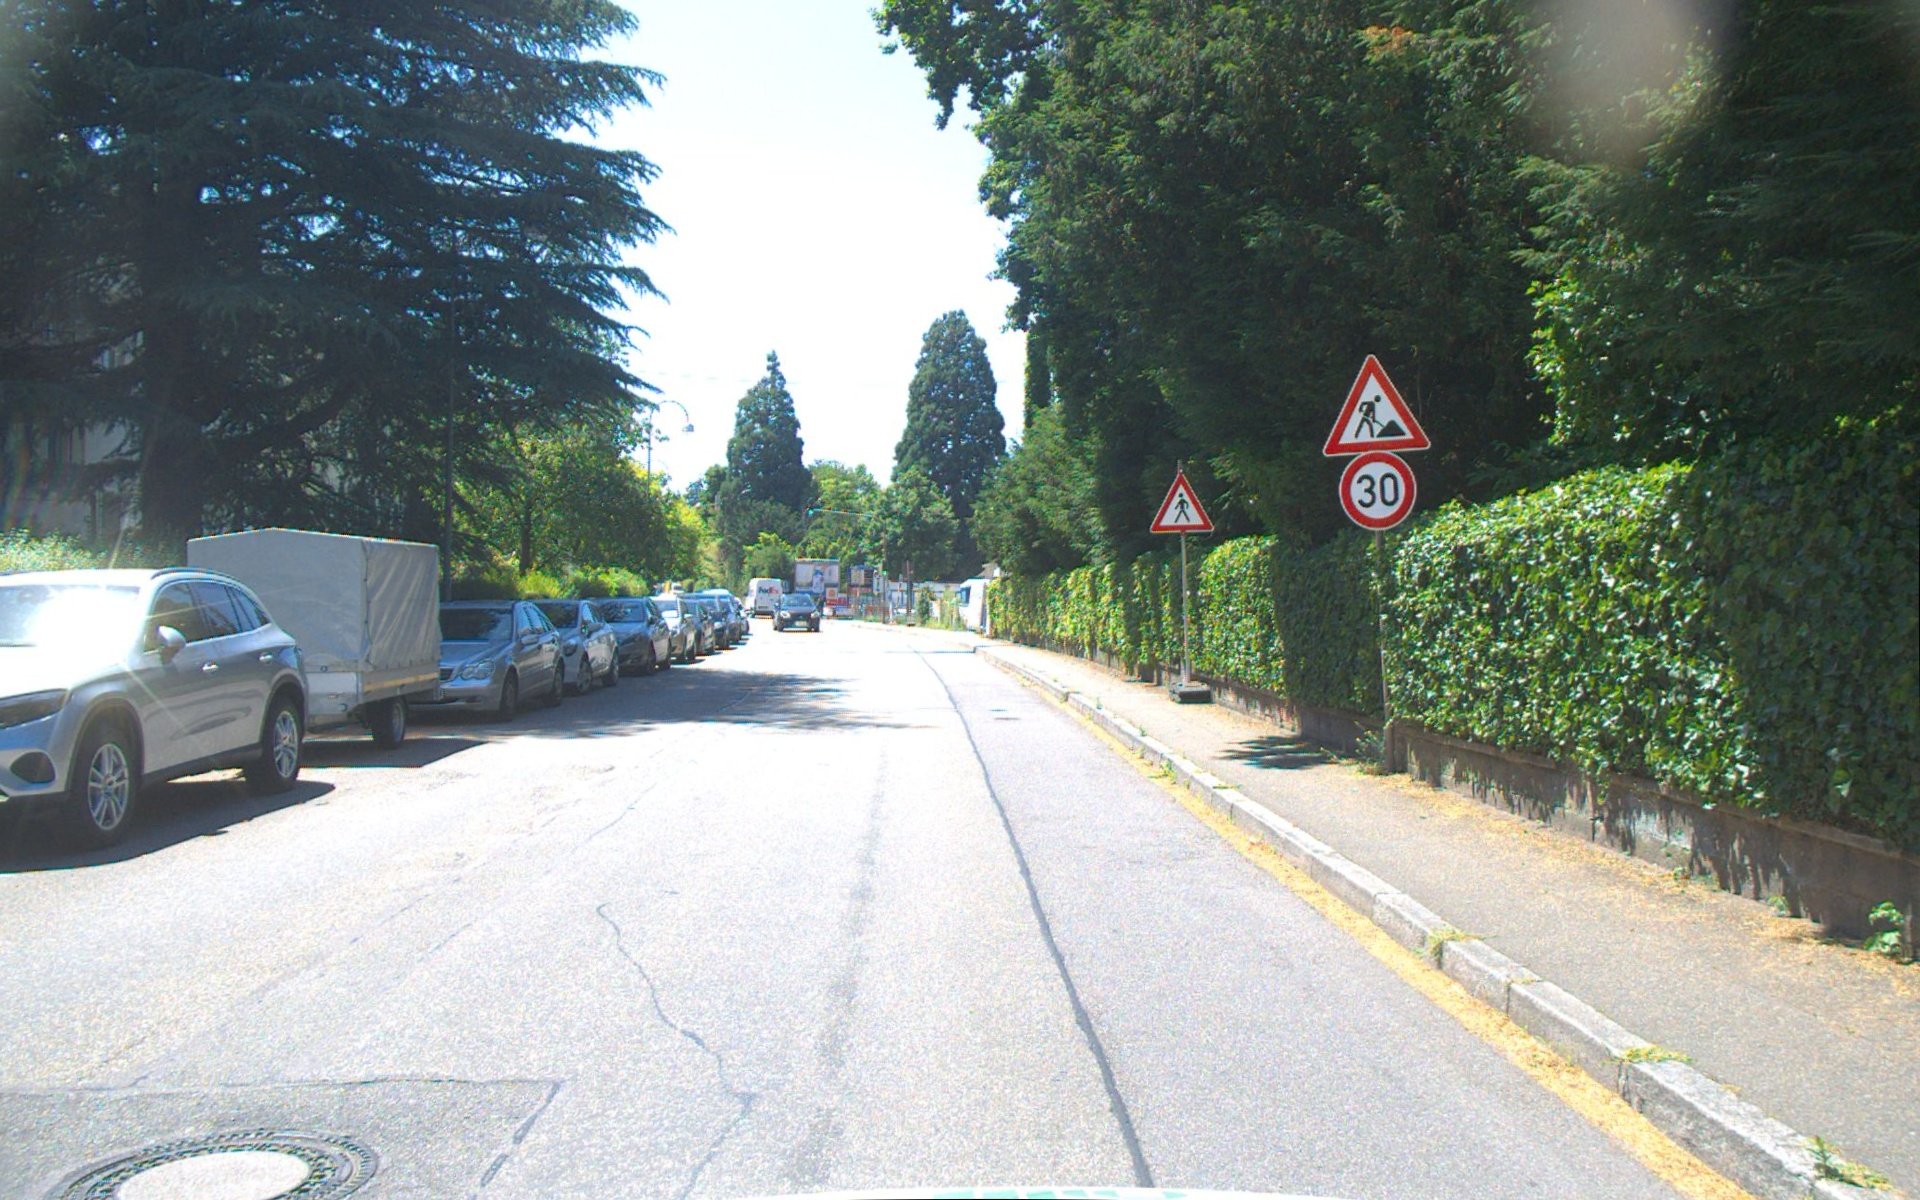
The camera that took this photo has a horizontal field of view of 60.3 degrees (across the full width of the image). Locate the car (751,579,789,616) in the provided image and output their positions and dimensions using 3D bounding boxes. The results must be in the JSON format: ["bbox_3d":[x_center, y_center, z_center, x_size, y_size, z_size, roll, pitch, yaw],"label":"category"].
[{"bbox_3d":[-12.515,-0.160,108.790,2.105,2.356,4.840,-1,0,-11],"label":"car"}]

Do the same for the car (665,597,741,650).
[{"bbox_3d":[-7.447,0.659,48.210,1.654,1.470,4.134,0,0,-1],"label":"car"}]

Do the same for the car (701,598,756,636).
[{"bbox_3d":[-9.120,0.648,65.328,1.654,1.470,4.134,0,0,-1],"label":"car"}]

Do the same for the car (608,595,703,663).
[{"bbox_3d":[-6.954,0.636,38.088,1.655,1.474,3.997,1,0,-3],"label":"car"}]

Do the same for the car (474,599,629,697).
[{"bbox_3d":[-6.369,0.705,26.135,1.550,1.414,3.882,0,0,-1],"label":"car"}]

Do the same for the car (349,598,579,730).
[{"bbox_3d":[-6.175,0.734,21.088,1.675,1.464,4.321,-1,0,-1],"label":"car"}]

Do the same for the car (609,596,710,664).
[{"bbox_3d":[-6.843,0.650,38.034,1.654,1.470,4.134,0,0,-1],"label":"car"}]

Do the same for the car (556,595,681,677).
[{"bbox_3d":[-6.599,0.652,32.343,1.654,1.470,4.135,0,1,-1],"label":"car"}]

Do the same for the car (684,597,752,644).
[{"bbox_3d":[-7.788,0.646,53.467,1.654,1.470,4.134,0,0,-1],"label":"car"}]

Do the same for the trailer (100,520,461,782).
[{"bbox_3d":[-6.121,0.411,15.474,1.811,2.076,4.160,-1,0,-3],"label":"trailer"}]

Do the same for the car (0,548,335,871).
[{"bbox_3d":[-5.879,0.600,11.034,1.814,1.700,4.709,-1,0,-3],"label":"car"}]

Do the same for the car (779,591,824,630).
[{"bbox_3d":[-6.721,0.450,70.357,1.816,1.612,4.132,0,0,-4],"label":"car"}]
